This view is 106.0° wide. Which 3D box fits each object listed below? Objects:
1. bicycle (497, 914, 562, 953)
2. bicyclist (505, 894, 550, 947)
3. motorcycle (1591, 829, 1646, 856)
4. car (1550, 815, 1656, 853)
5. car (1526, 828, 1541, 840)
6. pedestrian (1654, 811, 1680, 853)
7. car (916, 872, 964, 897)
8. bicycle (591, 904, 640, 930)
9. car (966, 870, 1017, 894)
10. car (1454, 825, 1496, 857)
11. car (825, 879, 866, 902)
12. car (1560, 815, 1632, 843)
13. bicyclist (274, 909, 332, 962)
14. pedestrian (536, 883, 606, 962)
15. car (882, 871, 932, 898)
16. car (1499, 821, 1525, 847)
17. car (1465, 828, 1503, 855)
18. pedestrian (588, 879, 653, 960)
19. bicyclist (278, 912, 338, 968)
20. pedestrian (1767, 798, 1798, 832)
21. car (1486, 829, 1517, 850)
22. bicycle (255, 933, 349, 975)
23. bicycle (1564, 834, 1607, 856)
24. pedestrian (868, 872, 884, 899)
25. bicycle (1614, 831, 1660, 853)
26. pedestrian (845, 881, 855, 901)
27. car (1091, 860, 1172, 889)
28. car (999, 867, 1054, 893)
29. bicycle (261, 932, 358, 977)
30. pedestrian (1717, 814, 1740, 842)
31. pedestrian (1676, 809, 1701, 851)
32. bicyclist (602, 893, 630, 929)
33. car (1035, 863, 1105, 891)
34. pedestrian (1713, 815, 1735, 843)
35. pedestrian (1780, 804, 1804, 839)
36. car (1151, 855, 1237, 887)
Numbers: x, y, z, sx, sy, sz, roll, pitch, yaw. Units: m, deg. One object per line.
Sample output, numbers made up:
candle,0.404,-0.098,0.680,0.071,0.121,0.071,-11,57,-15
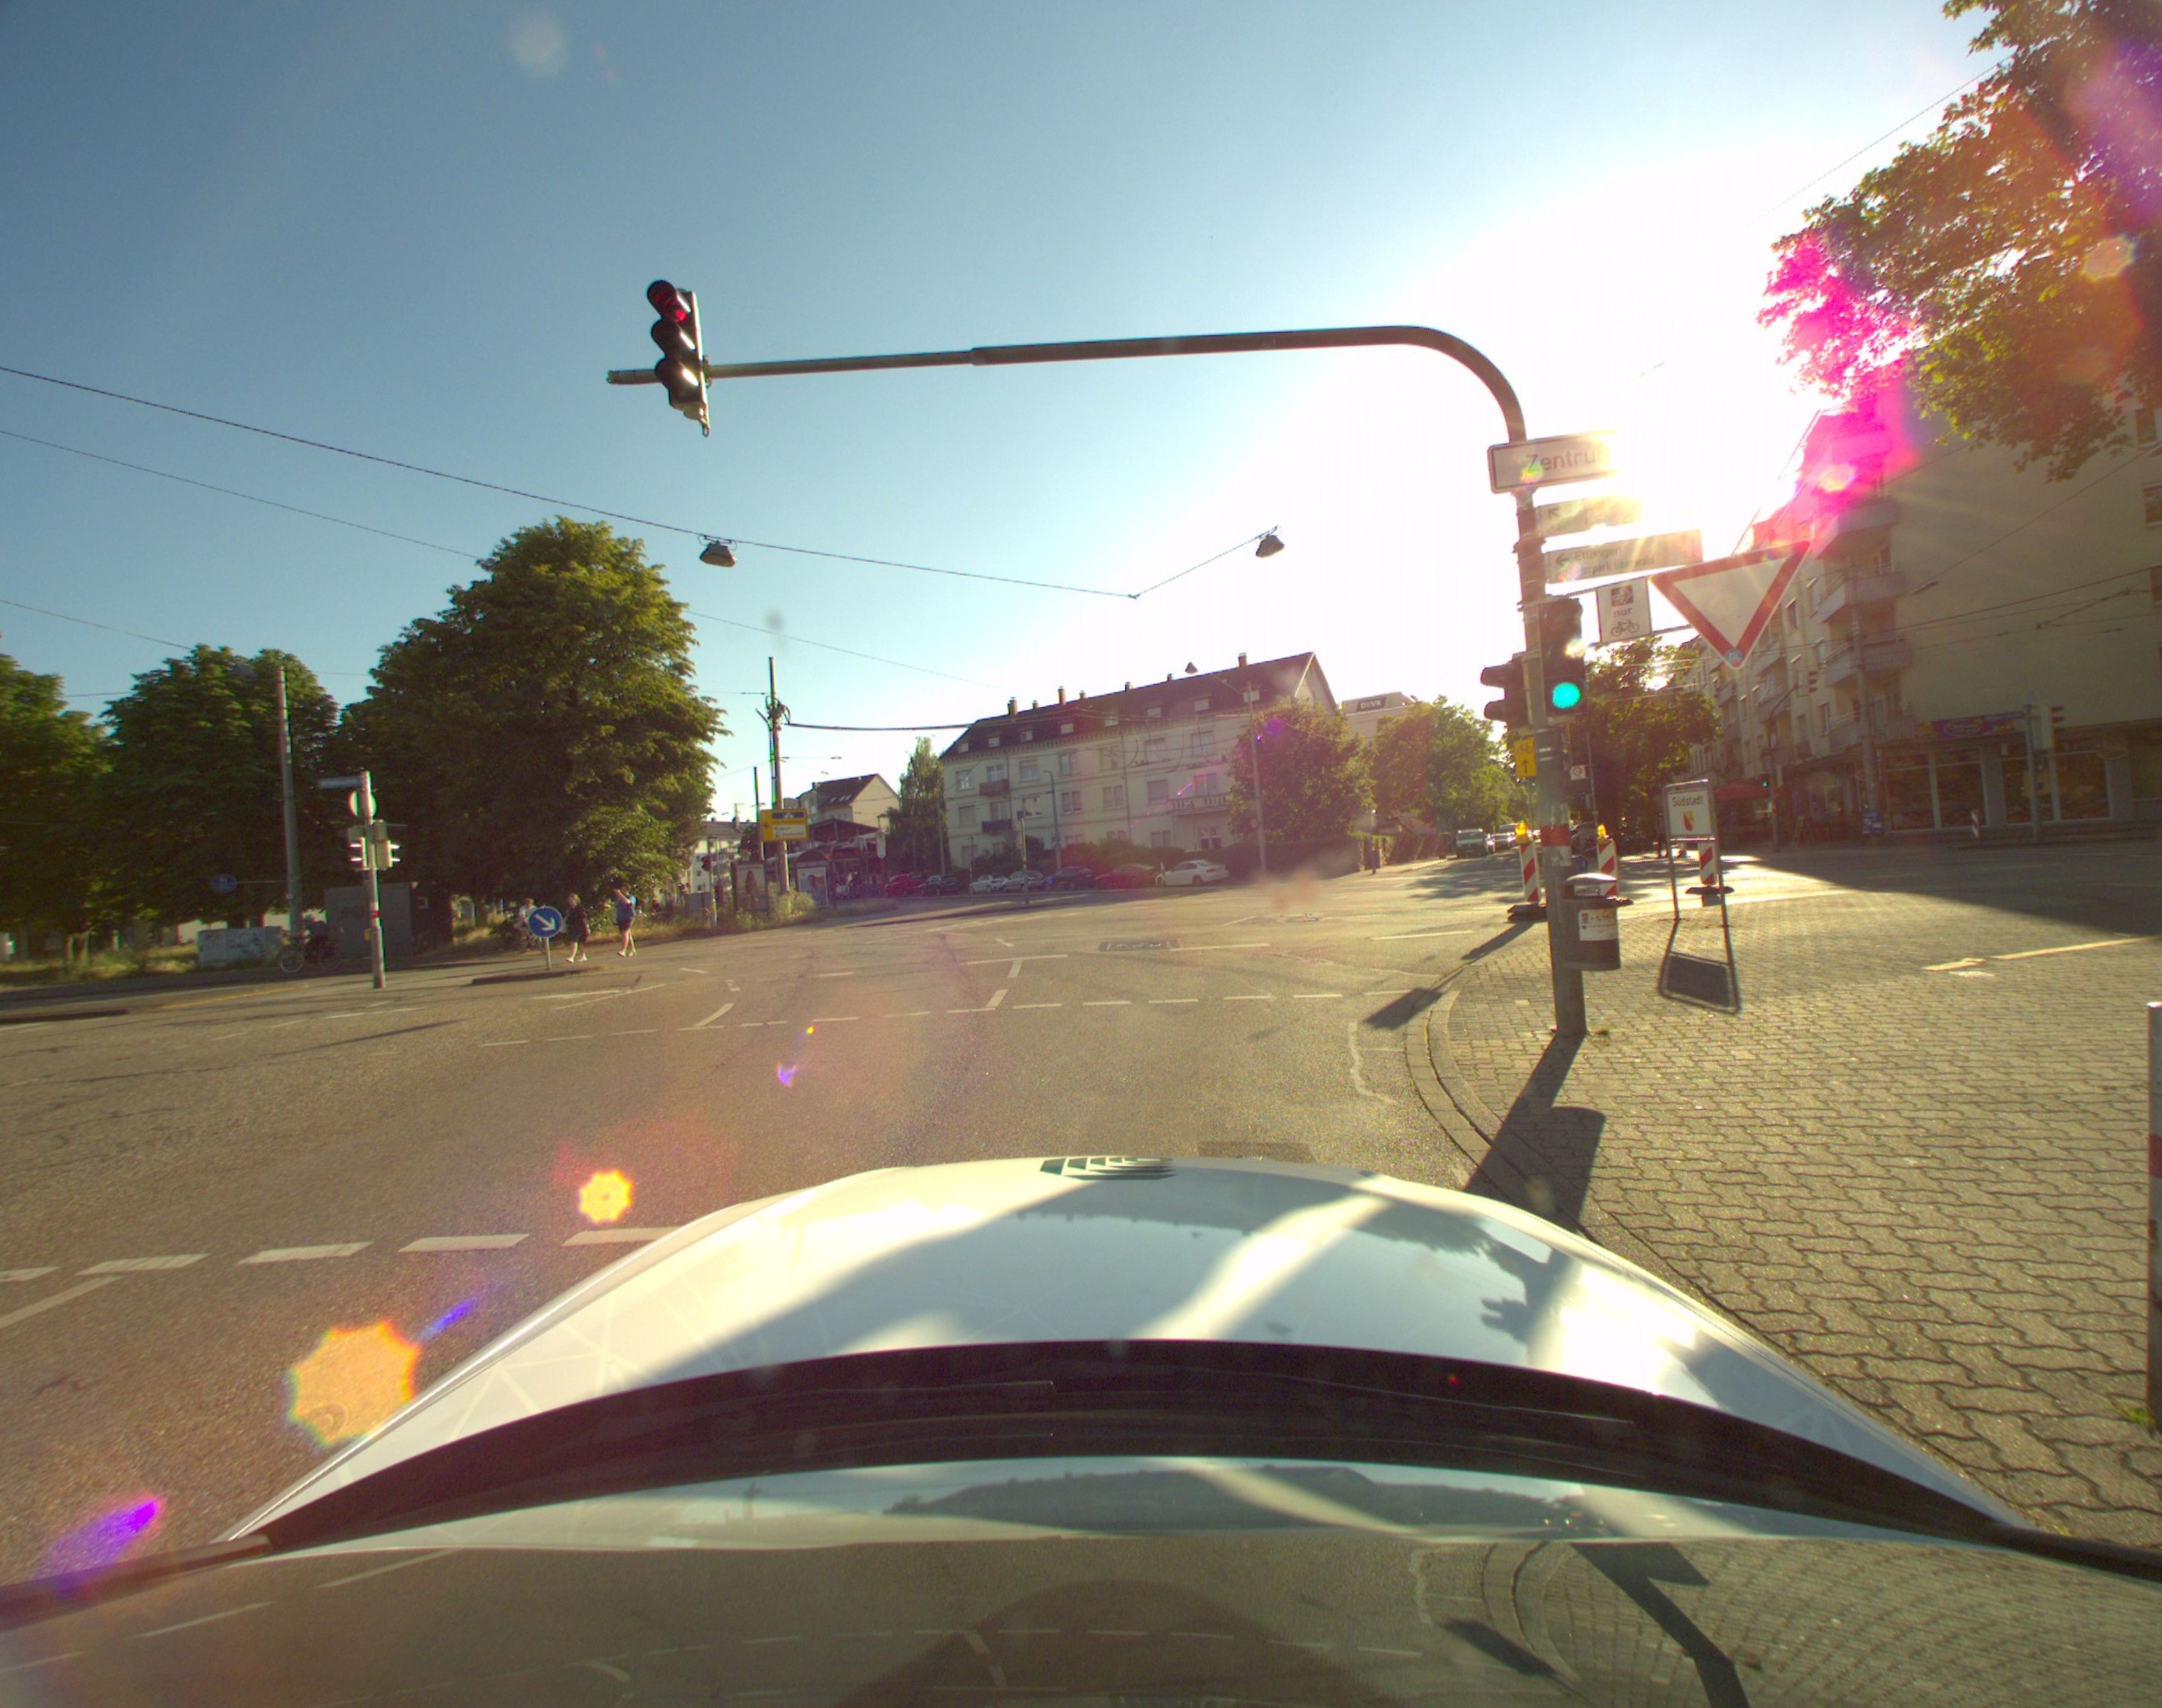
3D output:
bicycle,-18.145,2.630,26.794,2.174,1.142,0.704,-5,-1,25
bicyclist,-18.217,2.188,26.818,1.029,1.629,0.718,-5,-1,25
motorcycle,24.881,-0.525,37.736,1.933,1.109,0.842,-5,-1,26
car,34.142,-1.269,53.495,5.567,1.924,2.377,-5,-3,28
car,70.767,-3.061,127.329,1.974,1.689,4.025,-1,-1,30
pedestrian,25.452,-0.961,35.366,0.710,1.750,0.800,-5,-1,44
car,-11.532,2.512,66.487,1.855,1.667,4.319,-6,1,-39
bicycle,-22.664,3.069,39.718,0.655,1.069,2.030,-5,-1,22
car,-6.704,2.120,60.545,1.855,1.447,3.912,-6,1,-39
car,28.270,-0.916,58.383,2.332,2.013,5.342,-5,-1,28
car,-23.991,3.757,82.780,2.067,1.961,5.091,-6,1,-39
car,44.546,-2.146,70.586,5.042,1.924,2.377,-5,-3,28
bicyclist,-24.339,2.543,25.496,1.035,1.532,0.658,-4,-1,-12
pedestrian,-12.293,1.628,19.678,0.909,1.747,1.067,-4,-1,-2
car,-15.335,2.710,71.614,2.067,1.961,5.091,-6,1,-39
car,47.782,-2.213,90.317,2.332,2.514,5.342,-5,-1,28
car,31.567,-0.991,63.693,2.332,1.795,5.342,-5,-1,28
pedestrian,-11.618,1.625,20.566,0.909,1.925,1.067,-4,-1,-2
bicyclist,-23.234,2.572,24.491,1.035,1.532,0.695,-4,-1,-12
pedestrian,34.084,-1.895,39.568,0.804,1.545,0.919,-5,-1,25
car,39.573,-1.381,76.626,2.332,1.795,5.342,-5,-1,28
bicycle,-24.355,3.115,25.489,2.014,1.069,0.661,-4,-1,-12
bicycle,24.829,-0.432,40.129,1.707,0.932,0.676,-5,-1,31
pedestrian,-16.310,2.516,64.880,0.928,2.013,0.760,-4,-2,-34
bicycle,26.779,-0.573,39.256,1.707,0.932,0.565,-5,-1,31
pedestrian,-18.683,2.998,65.952,0.569,1.500,0.672,-4,-1,-27
car,3.022,1.245,49.084,1.999,1.376,4.647,-7,1,-44
car,-3.856,1.822,56.990,1.998,1.447,3.675,-7,1,-39
bicycle,-23.153,3.004,24.479,2.015,1.069,0.660,-4,-1,-13
pedestrian,33.281,-1.326,41.856,0.803,1.362,0.920,-5,-2,36
pedestrian,25.884,-1.032,34.714,0.684,1.750,0.800,-5,-1,40
bicyclist,-22.683,2.779,39.721,0.662,1.652,0.892,-5,-1,23
car,-0.777,1.535,53.678,1.998,1.447,4.650,-7,1,-39
pedestrian,33.959,-1.316,43.012,0.803,1.362,0.920,-5,-2,36
pedestrian,33.829,-1.523,38.745,0.612,1.591,0.480,-5,-1,14
car,6.174,0.944,45.020,1.941,1.376,4.443,-7,1,-41
